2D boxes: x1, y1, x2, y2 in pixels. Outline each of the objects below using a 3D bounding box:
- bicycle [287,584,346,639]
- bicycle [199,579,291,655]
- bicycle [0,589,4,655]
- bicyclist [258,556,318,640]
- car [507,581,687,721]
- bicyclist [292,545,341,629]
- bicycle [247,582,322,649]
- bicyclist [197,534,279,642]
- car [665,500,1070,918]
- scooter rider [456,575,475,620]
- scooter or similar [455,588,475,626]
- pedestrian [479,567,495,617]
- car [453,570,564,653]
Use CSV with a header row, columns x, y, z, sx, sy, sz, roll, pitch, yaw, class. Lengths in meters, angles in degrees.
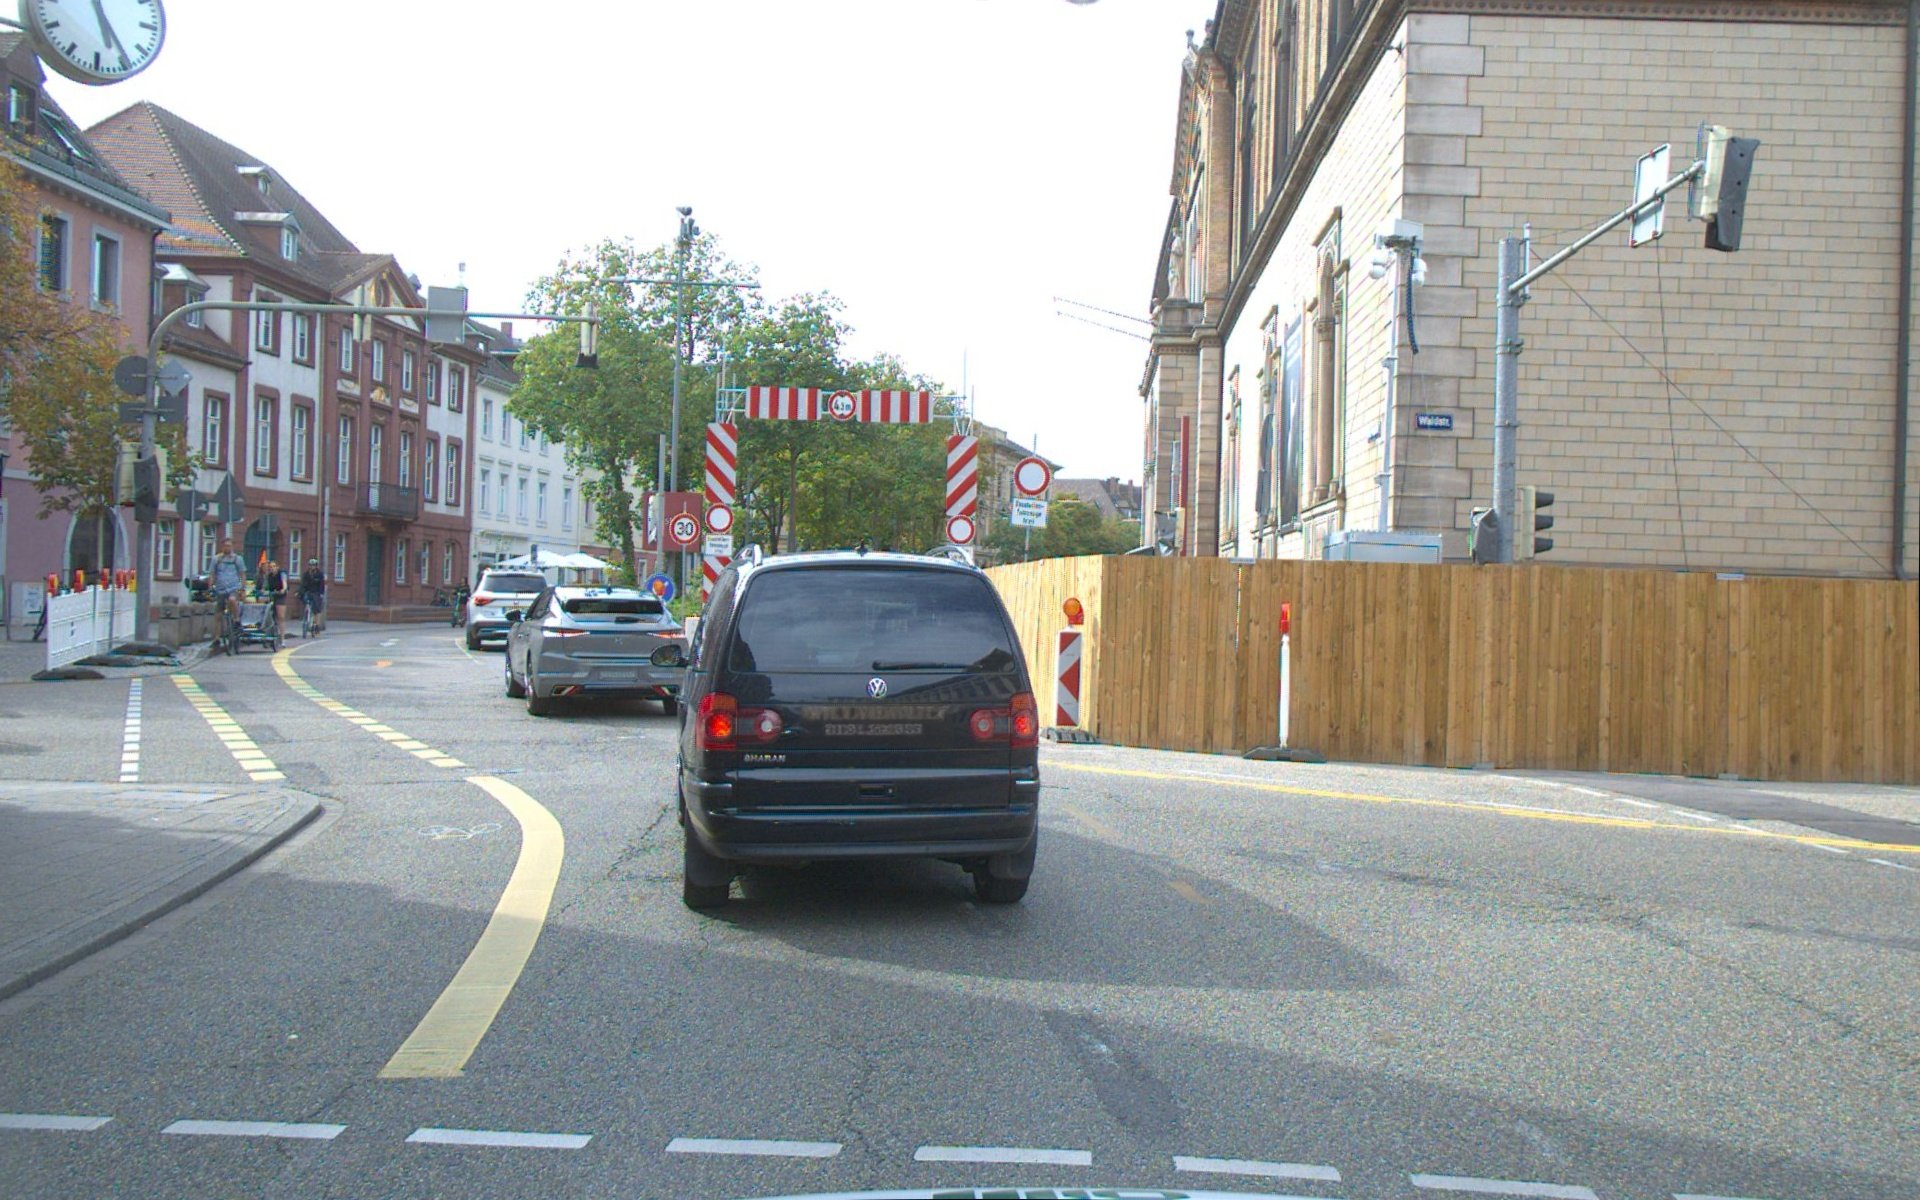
x,y,z,sx,sy,sz,roll,pitch,yaw,class
-15.710,0.274,40.446,0.909,1.277,2.533,1,0,-12,bicycle
-12.818,0.290,29.757,1.038,1.277,3.029,1,0,-15,bicycle
-16.531,0.357,26.518,2.013,1.078,0.504,0,0,-9,bicycle
-13.499,-0.033,33.243,0.910,1.637,1.060,1,-1,-12,bicyclist
-4.478,0.563,20.000,1.653,1.495,4.081,2,0,-19,car
-15.674,-0.321,40.301,0.910,1.997,1.102,1,-1,-12,bicyclist
-13.485,0.308,33.090,0.909,1.277,2.533,1,0,-12,bicycle
-12.786,-0.201,29.345,1.072,1.856,1.360,1,-1,-14,bicyclist
-0.709,0.502,9.373,1.756,1.821,4.094,2,0,-9,car
-17.010,-0.086,56.928,0.589,1.516,0.676,1,-1,-16,scooter rider
-17.017,0.251,56.933,0.589,1.277,1.546,1,-1,-15,scooter or similar
-19.552,-0.339,68.360,0.575,2.049,0.684,1,-1,-14,pedestrian
-9.520,0.233,34.662,1.749,1.613,3.972,1,0,-22,car
